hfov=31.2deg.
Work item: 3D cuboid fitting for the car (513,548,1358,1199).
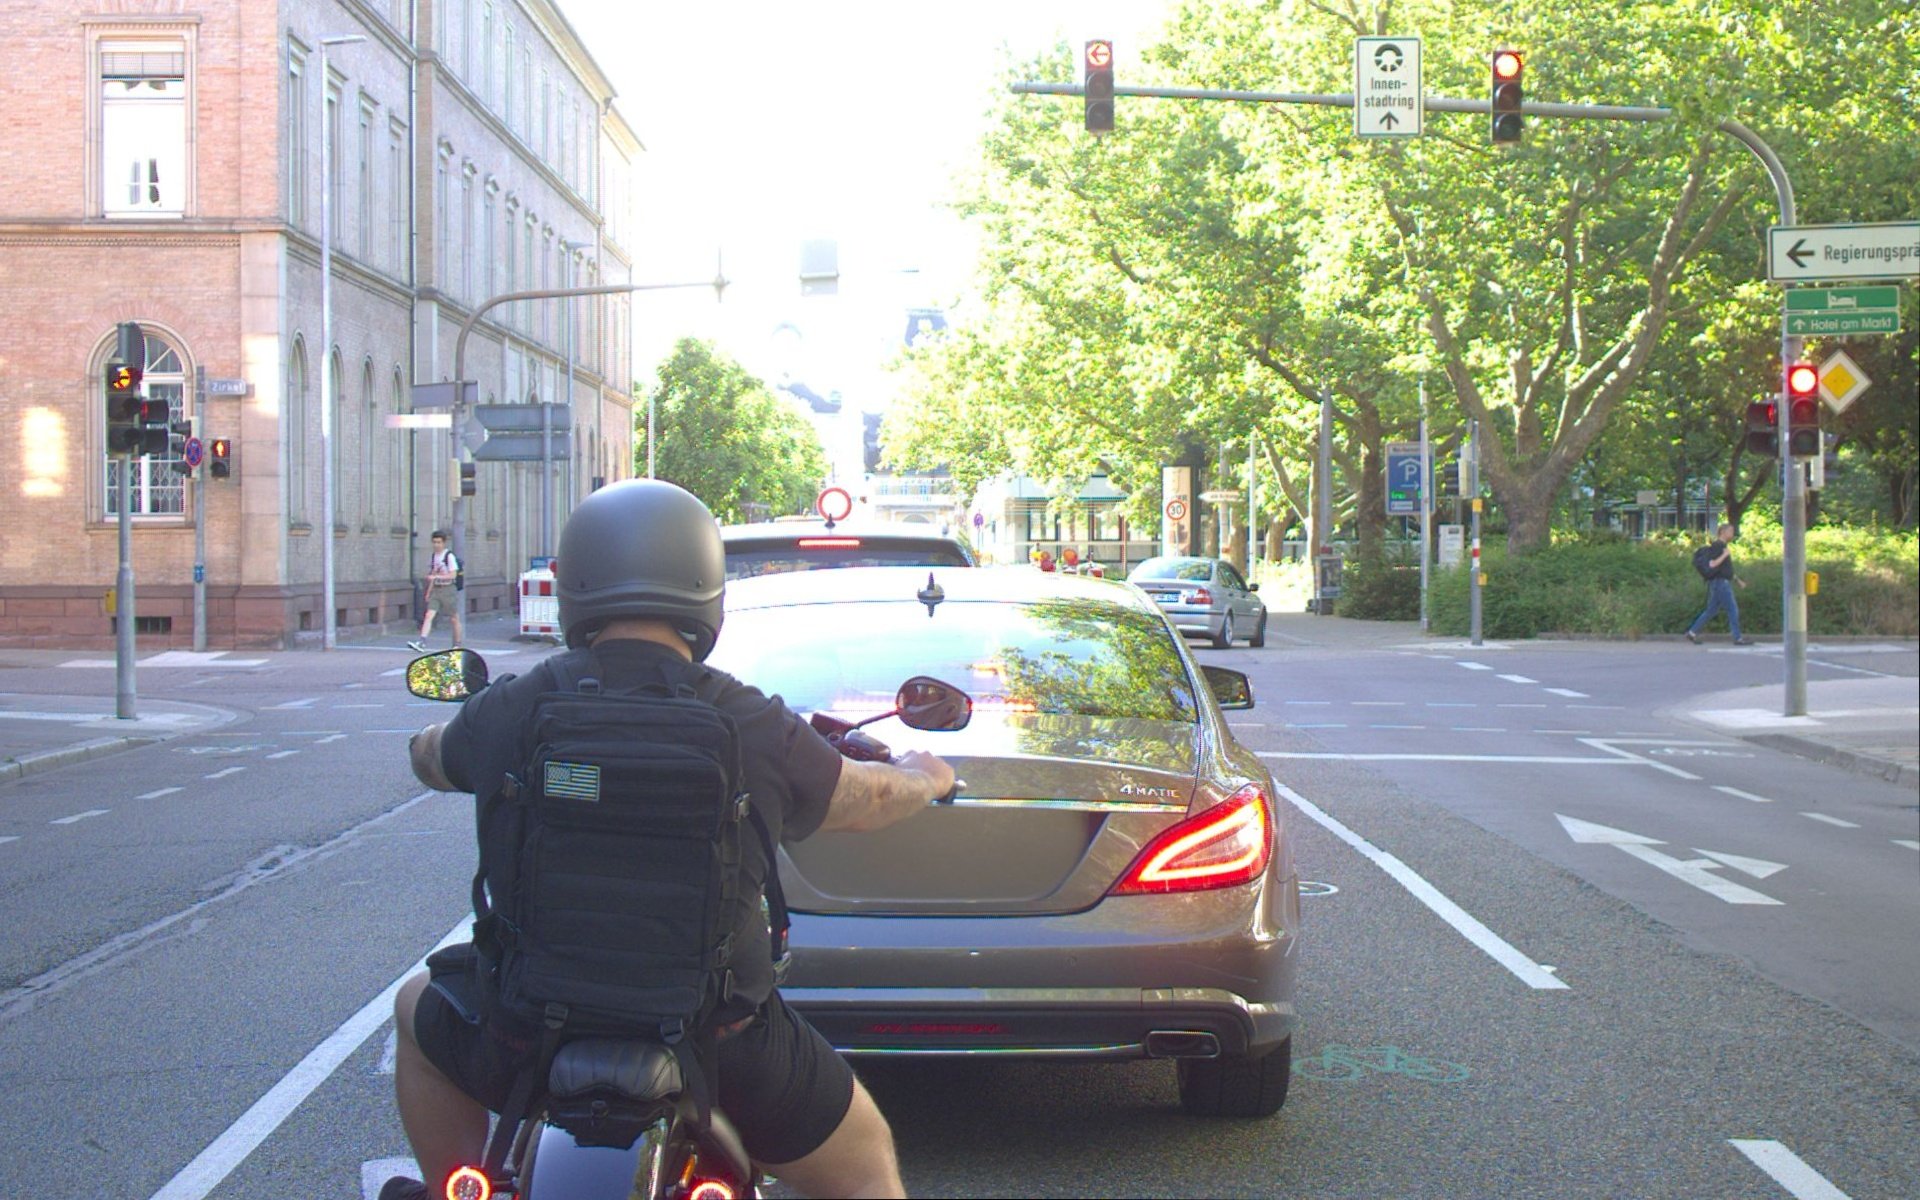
[{"bbox_3d":[-0.077,0.598,9.640,1.882,1.444,3.820,1,1,-1],"label":"car"}]

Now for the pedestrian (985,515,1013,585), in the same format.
[{"bbox_3d":[1.145,-1.457,100.954,0.764,2.044,0.712,1,0,-1],"label":"pedestrian"}]

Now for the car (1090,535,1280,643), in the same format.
[{"bbox_3d":[3.497,-0.178,52.740,1.854,1.569,4.132,1,1,19],"label":"car"}]

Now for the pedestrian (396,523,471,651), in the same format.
[{"bbox_3d":[-7.630,-0.185,49.788,1.001,1.820,1.076,1,0,-12],"label":"pedestrian"}]

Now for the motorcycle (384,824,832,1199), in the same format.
[{"bbox_3d":[-0.490,0.929,5.382,0.513,0.999,2.013,1,1,-1],"label":"motorcycle"}]

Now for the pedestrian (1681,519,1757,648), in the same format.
[{"bbox_3d":[11.370,-0.254,51.489,0.924,1.903,0.751,1,0,27],"label":"pedestrian"}]

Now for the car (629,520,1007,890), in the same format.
[{"bbox_3d":[-0.631,0.413,16.756,1.621,1.588,4.000,0,1,-1],"label":"car"}]

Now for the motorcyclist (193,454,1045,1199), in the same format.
[{"bbox_3d":[-0.477,0.598,5.340,1.149,1.593,1.288,1,0,-1],"label":"motorcyclist"}]
